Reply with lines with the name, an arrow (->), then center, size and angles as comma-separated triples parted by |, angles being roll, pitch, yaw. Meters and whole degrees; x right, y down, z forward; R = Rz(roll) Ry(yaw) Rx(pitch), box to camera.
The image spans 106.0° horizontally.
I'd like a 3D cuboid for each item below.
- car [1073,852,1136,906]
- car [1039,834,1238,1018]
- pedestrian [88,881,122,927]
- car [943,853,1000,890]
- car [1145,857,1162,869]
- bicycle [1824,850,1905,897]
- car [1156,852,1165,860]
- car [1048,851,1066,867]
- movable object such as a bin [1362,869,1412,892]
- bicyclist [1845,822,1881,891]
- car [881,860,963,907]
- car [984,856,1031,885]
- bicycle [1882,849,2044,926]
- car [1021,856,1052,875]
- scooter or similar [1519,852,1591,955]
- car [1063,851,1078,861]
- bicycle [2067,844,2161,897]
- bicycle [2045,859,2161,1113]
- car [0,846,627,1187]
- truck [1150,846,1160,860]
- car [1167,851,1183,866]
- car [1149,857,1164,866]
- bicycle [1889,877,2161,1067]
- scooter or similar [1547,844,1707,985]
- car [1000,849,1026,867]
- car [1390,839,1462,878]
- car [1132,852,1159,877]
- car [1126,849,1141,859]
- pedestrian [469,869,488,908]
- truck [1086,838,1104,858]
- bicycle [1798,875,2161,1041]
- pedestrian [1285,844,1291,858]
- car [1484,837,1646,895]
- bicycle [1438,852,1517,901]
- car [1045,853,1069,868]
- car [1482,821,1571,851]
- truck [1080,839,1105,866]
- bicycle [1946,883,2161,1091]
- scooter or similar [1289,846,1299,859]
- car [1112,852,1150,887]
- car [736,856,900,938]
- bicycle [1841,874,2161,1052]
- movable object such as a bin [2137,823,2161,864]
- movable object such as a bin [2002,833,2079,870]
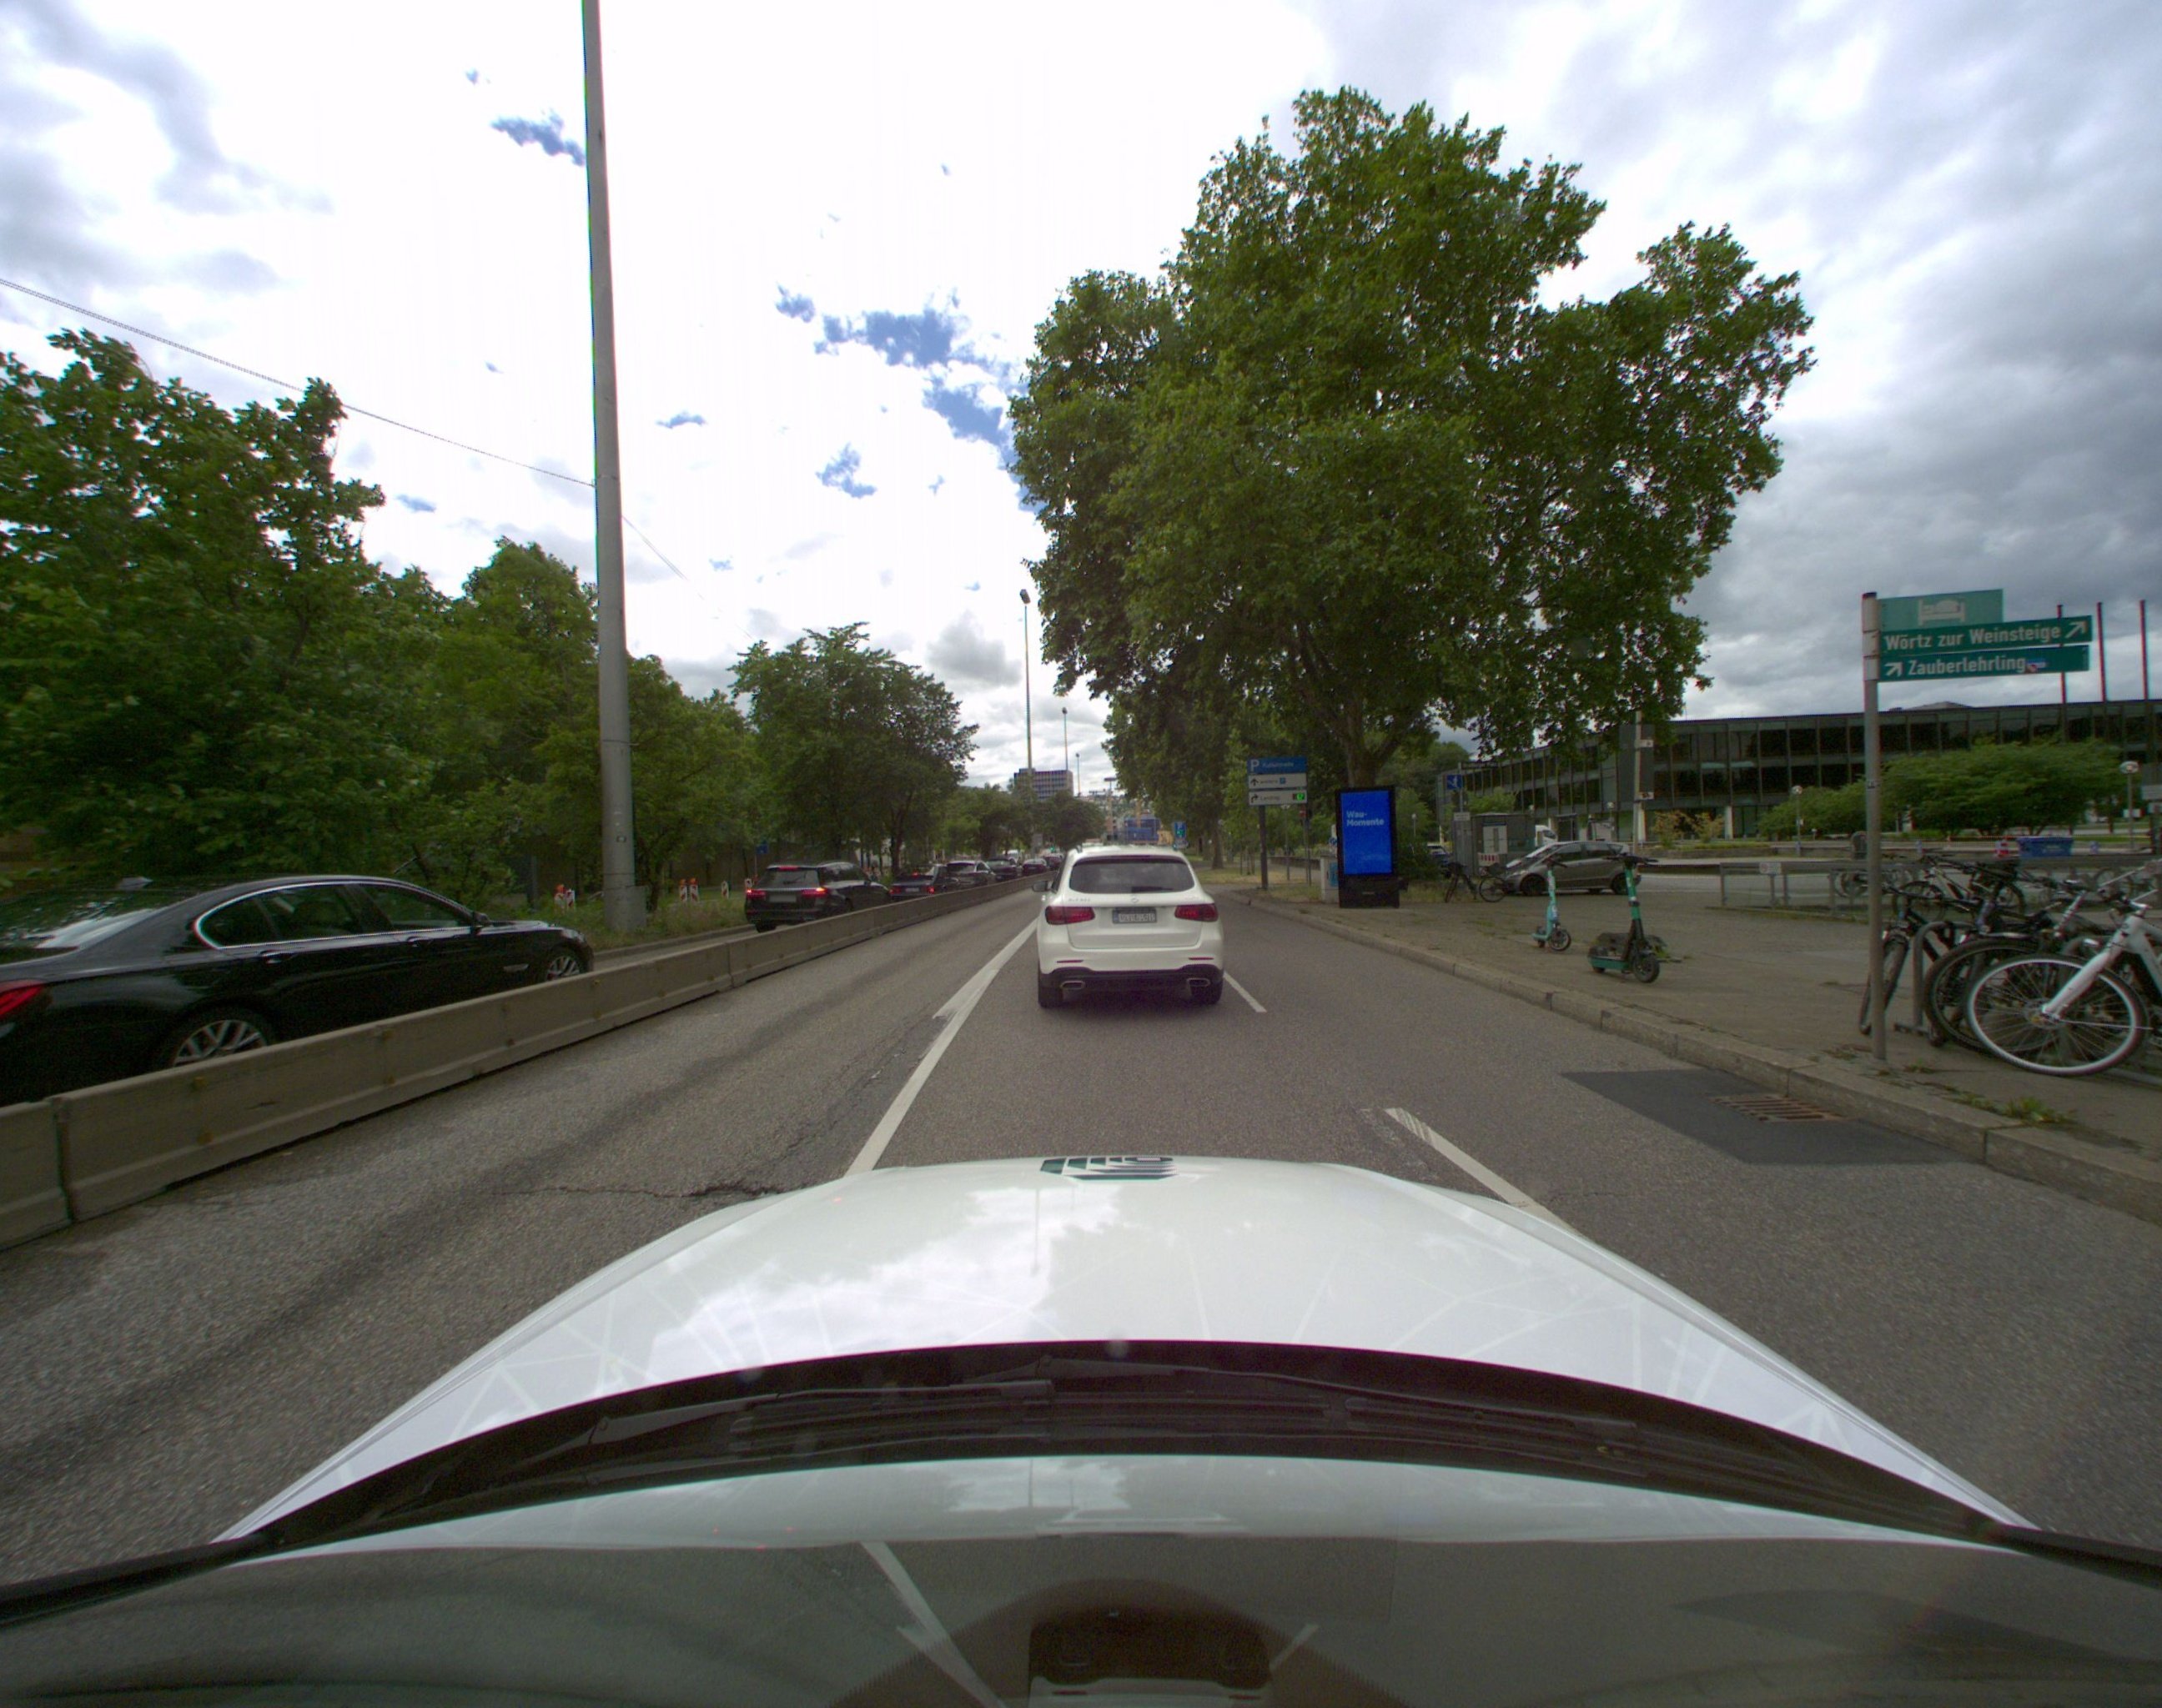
car -> 0.686, 0.755, 26.232 | 1.791, 1.608, 3.752 | -1, 0, -2
car -> 0.419, 0.655, 9.643 | 1.784, 1.625, 4.432 | -1, 0, -3
pedestrian -> -34.524, 1.771, 28.812 | 0.437, 1.569, 0.621 | -2, 0, -5
car -> -4.499, 0.695, 34.033 | 1.654, 1.436, 3.963 | -1, -1, 3
car -> 8.551, 1.046, 95.916 | 1.938, 1.428, 4.021 | -1, 0, 4
bicycle -> 19.959, 0.487, 20.746 | 1.746, 1.131, 0.443 | -2, 0, -6
car -> 17.744, 0.377, 182.629 | 1.751, 1.669, 4.172 | -2, 0, 3
car -> -2.403, 0.526, 83.674 | 1.653, 1.513, 3.547 | -2, -1, 0
movable object such as a bin -> 8.990, 0.770, 23.991 | 1.290, 0.652, 0.731 | 0, -1, 11
bicyclist -> 20.260, 0.064, 21.100 | 0.435, 1.748, 0.474 | -2, 0, -5
car -> -5.281, 0.945, 27.663 | 1.671, 1.367, 4.546 | -2, 0, 3
car -> -3.933, 0.838, 44.159 | 1.767, 1.420, 4.006 | -2, 0, 5
bicycle -> 13.661, 0.520, 12.634 | 2.003, 1.125, 0.389 | -2, -1, 2
car -> -3.179, 0.796, 58.673 | 1.651, 1.319, 3.553 | -1, 0, 6
scooter or similar -> 6.280, 0.617, 10.846 | 0.428, 1.280, 1.439 | -1, -1, 14
car -> -1.373, 0.277, 106.278 | 1.652, 1.319, 3.551 | -1, 0, 4
bicycle -> 22.257, 0.347, 17.160 | 2.153, 1.101, 0.427 | 0, -1, 8
bicycle -> 6.041, 0.630, 4.073 | 1.752, 1.209, 0.604 | 0, 0, -1
car -> -5.998, 0.804, 6.323 | 1.915, 1.636, 4.941 | -1, 0, 4
truck -> 22.264, -0.365, 244.070 | 2.864, 4.103, 6.644 | 0, 0, 4
car -> 13.504, 0.634, 117.069 | 1.984, 2.014, 4.004 | -1, 0, 4
car -> 10.742, 1.041, 116.185 | 1.938, 1.319, 4.021 | -1, 0, 4
bicycle -> 6.120, 0.695, 4.975 | 1.715, 1.091, 0.382 | 0, 0, 15
scooter or similar -> 5.553, 0.576, 8.393 | 0.723, 1.331, 1.414 | 0, -1, 2
car -> -7.886, 0.395, 95.049 | 2.107, 1.969, 5.583 | -2, 0, 3
car -> 15.447, 0.156, 36.714 | 1.752, 1.551, 4.032 | -2, 2, 4
car -> 4.803, 0.748, 61.042 | 1.818, 1.752, 4.003 | -2, 0, 3
car -> 7.484, 0.000, 115.880 | 1.938, 1.319, 4.021 | -1, 0, 4
pedestrian -> -31.940, 1.821, 43.190 | 0.449, 2.013, 0.666 | -2, 0, 3
truck -> 2.145, -0.861, 123.218 | 2.681, 2.992, 5.640 | 0, -1, 2
bicycle -> 6.565, 0.710, 5.976 | 1.843, 1.091, 0.668 | 0, 0, 15
pedestrian -> 23.579, -0.368, 92.763 | 0.634, 1.611, 0.665 | -2, 0, 10
car -> 14.369, 0.352, 24.340 | 3.820, 1.568, 1.680 | -1, 0, 2
bicycle -> 10.322, 0.580, 21.255 | 1.776, 1.221, 0.493 | -1, 0, 5
car -> -2.128, 0.563, 72.452 | 1.651, 1.319, 3.553 | -1, 0, 6
car -> 37.209, -1.493, 68.188 | 6.079, 2.260, 2.404 | -2, 0, 4
truck -> 1.313, -0.188, 91.512 | 2.611, 2.861, 7.082 | 0, 0, 2
bicycle -> 6.124, 0.719, 4.578 | 1.717, 1.091, 0.576 | 0, 0, 11
scooter or similar -> 20.547, -0.146, 78.558 | 0.632, 1.245, 2.229 | 0, -1, 6
car -> 2.428, 0.731, 40.311 | 1.653, 1.639, 3.547 | -1, 0, 0
car -> -5.547, 0.829, 17.908 | 1.809, 1.499, 4.772 | -2, 0, 3
bicycle -> 6.227, 0.687, 5.409 | 1.715, 1.091, 0.427 | 0, 0, 15
movable object such as a bin -> 40.085, -0.417, 29.772 | 1.402, 1.497, 1.154 | -2, 0, 5
movable object such as a bin -> 35.493, -0.079, 30.146 | 1.402, 1.303, 1.154 | -2, 0, 5
